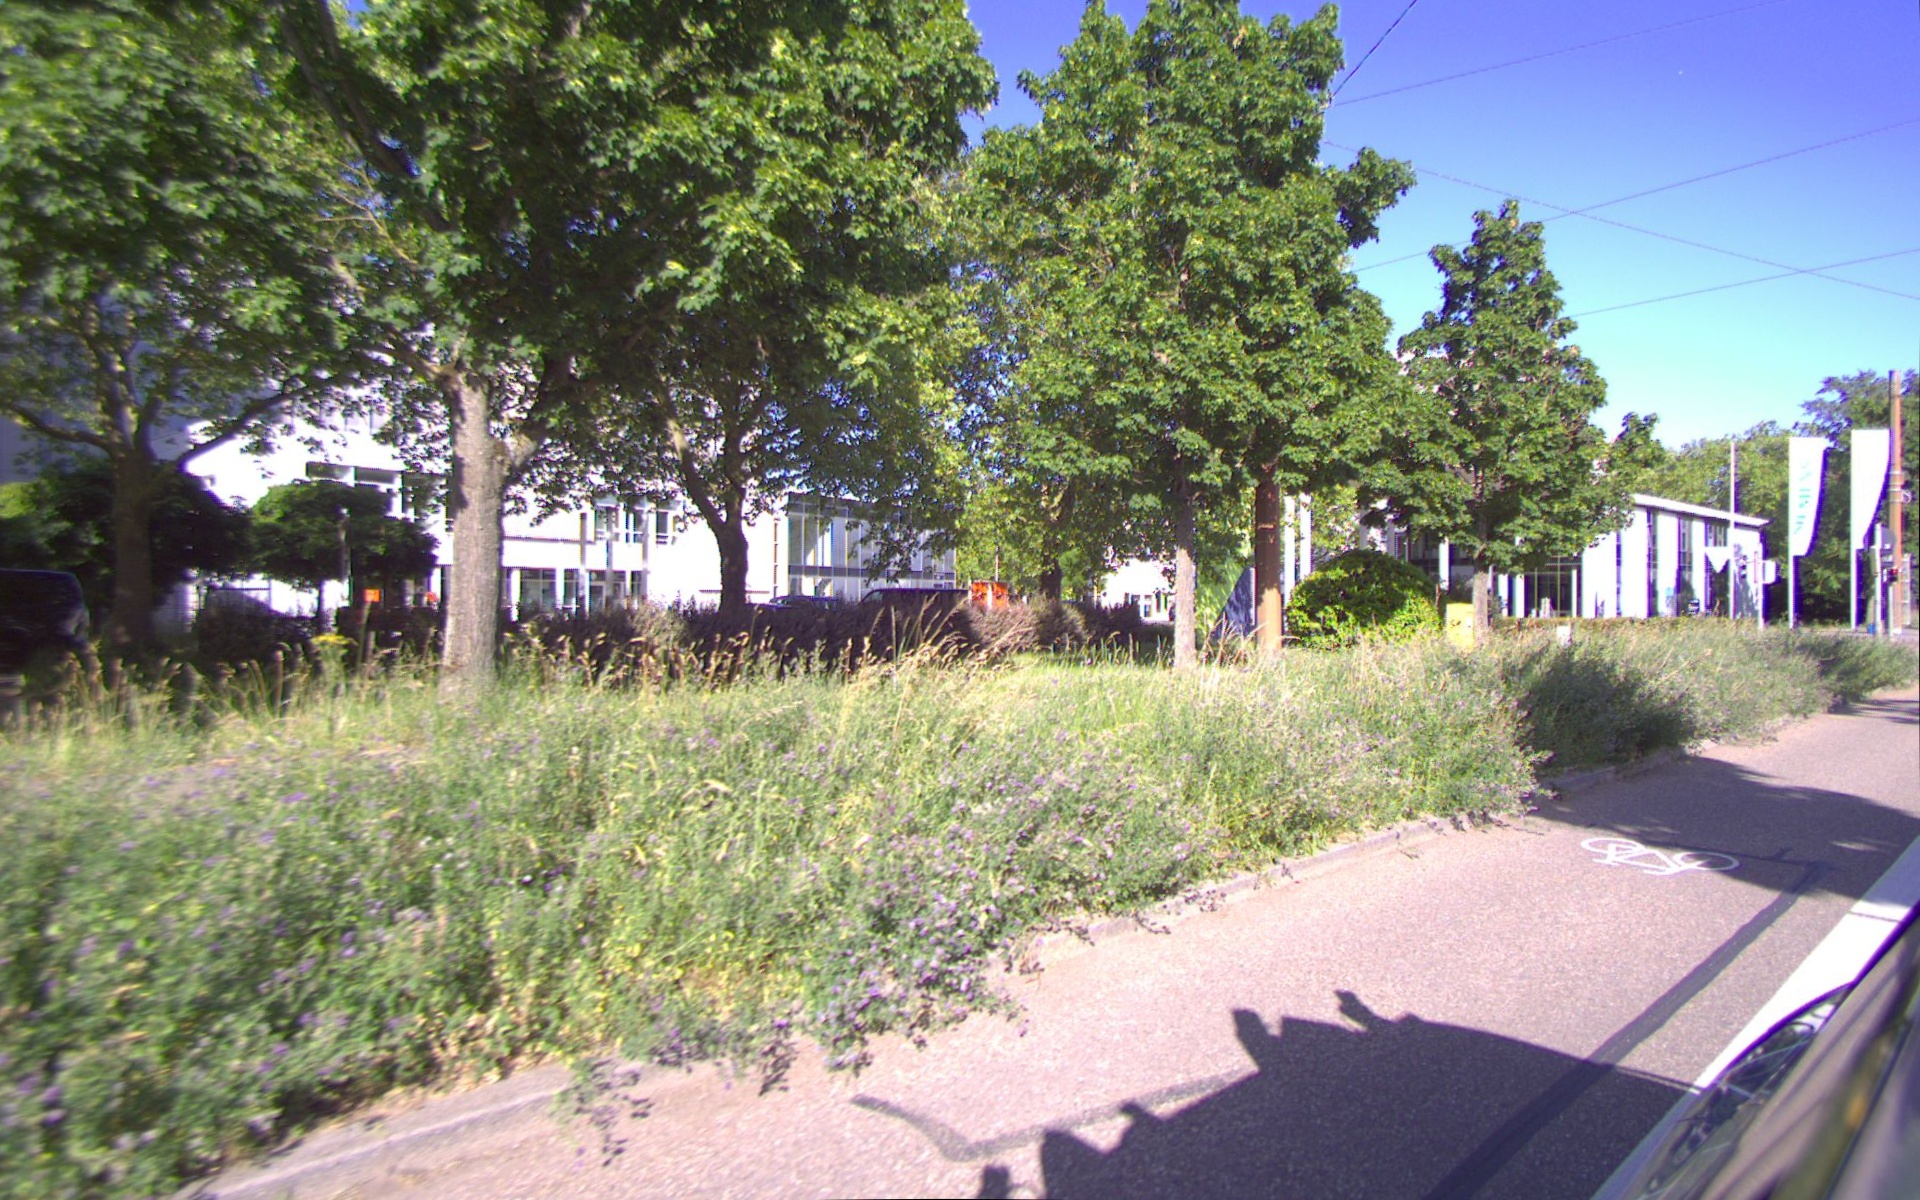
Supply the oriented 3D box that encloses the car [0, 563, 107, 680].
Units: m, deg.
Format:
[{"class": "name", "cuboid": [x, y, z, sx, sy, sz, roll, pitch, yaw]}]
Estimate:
[{"class": "car", "cuboid": [-16.641, 0.356, 15.828, 2.042, 1.900, 5.181, 0, 0, 4]}]
